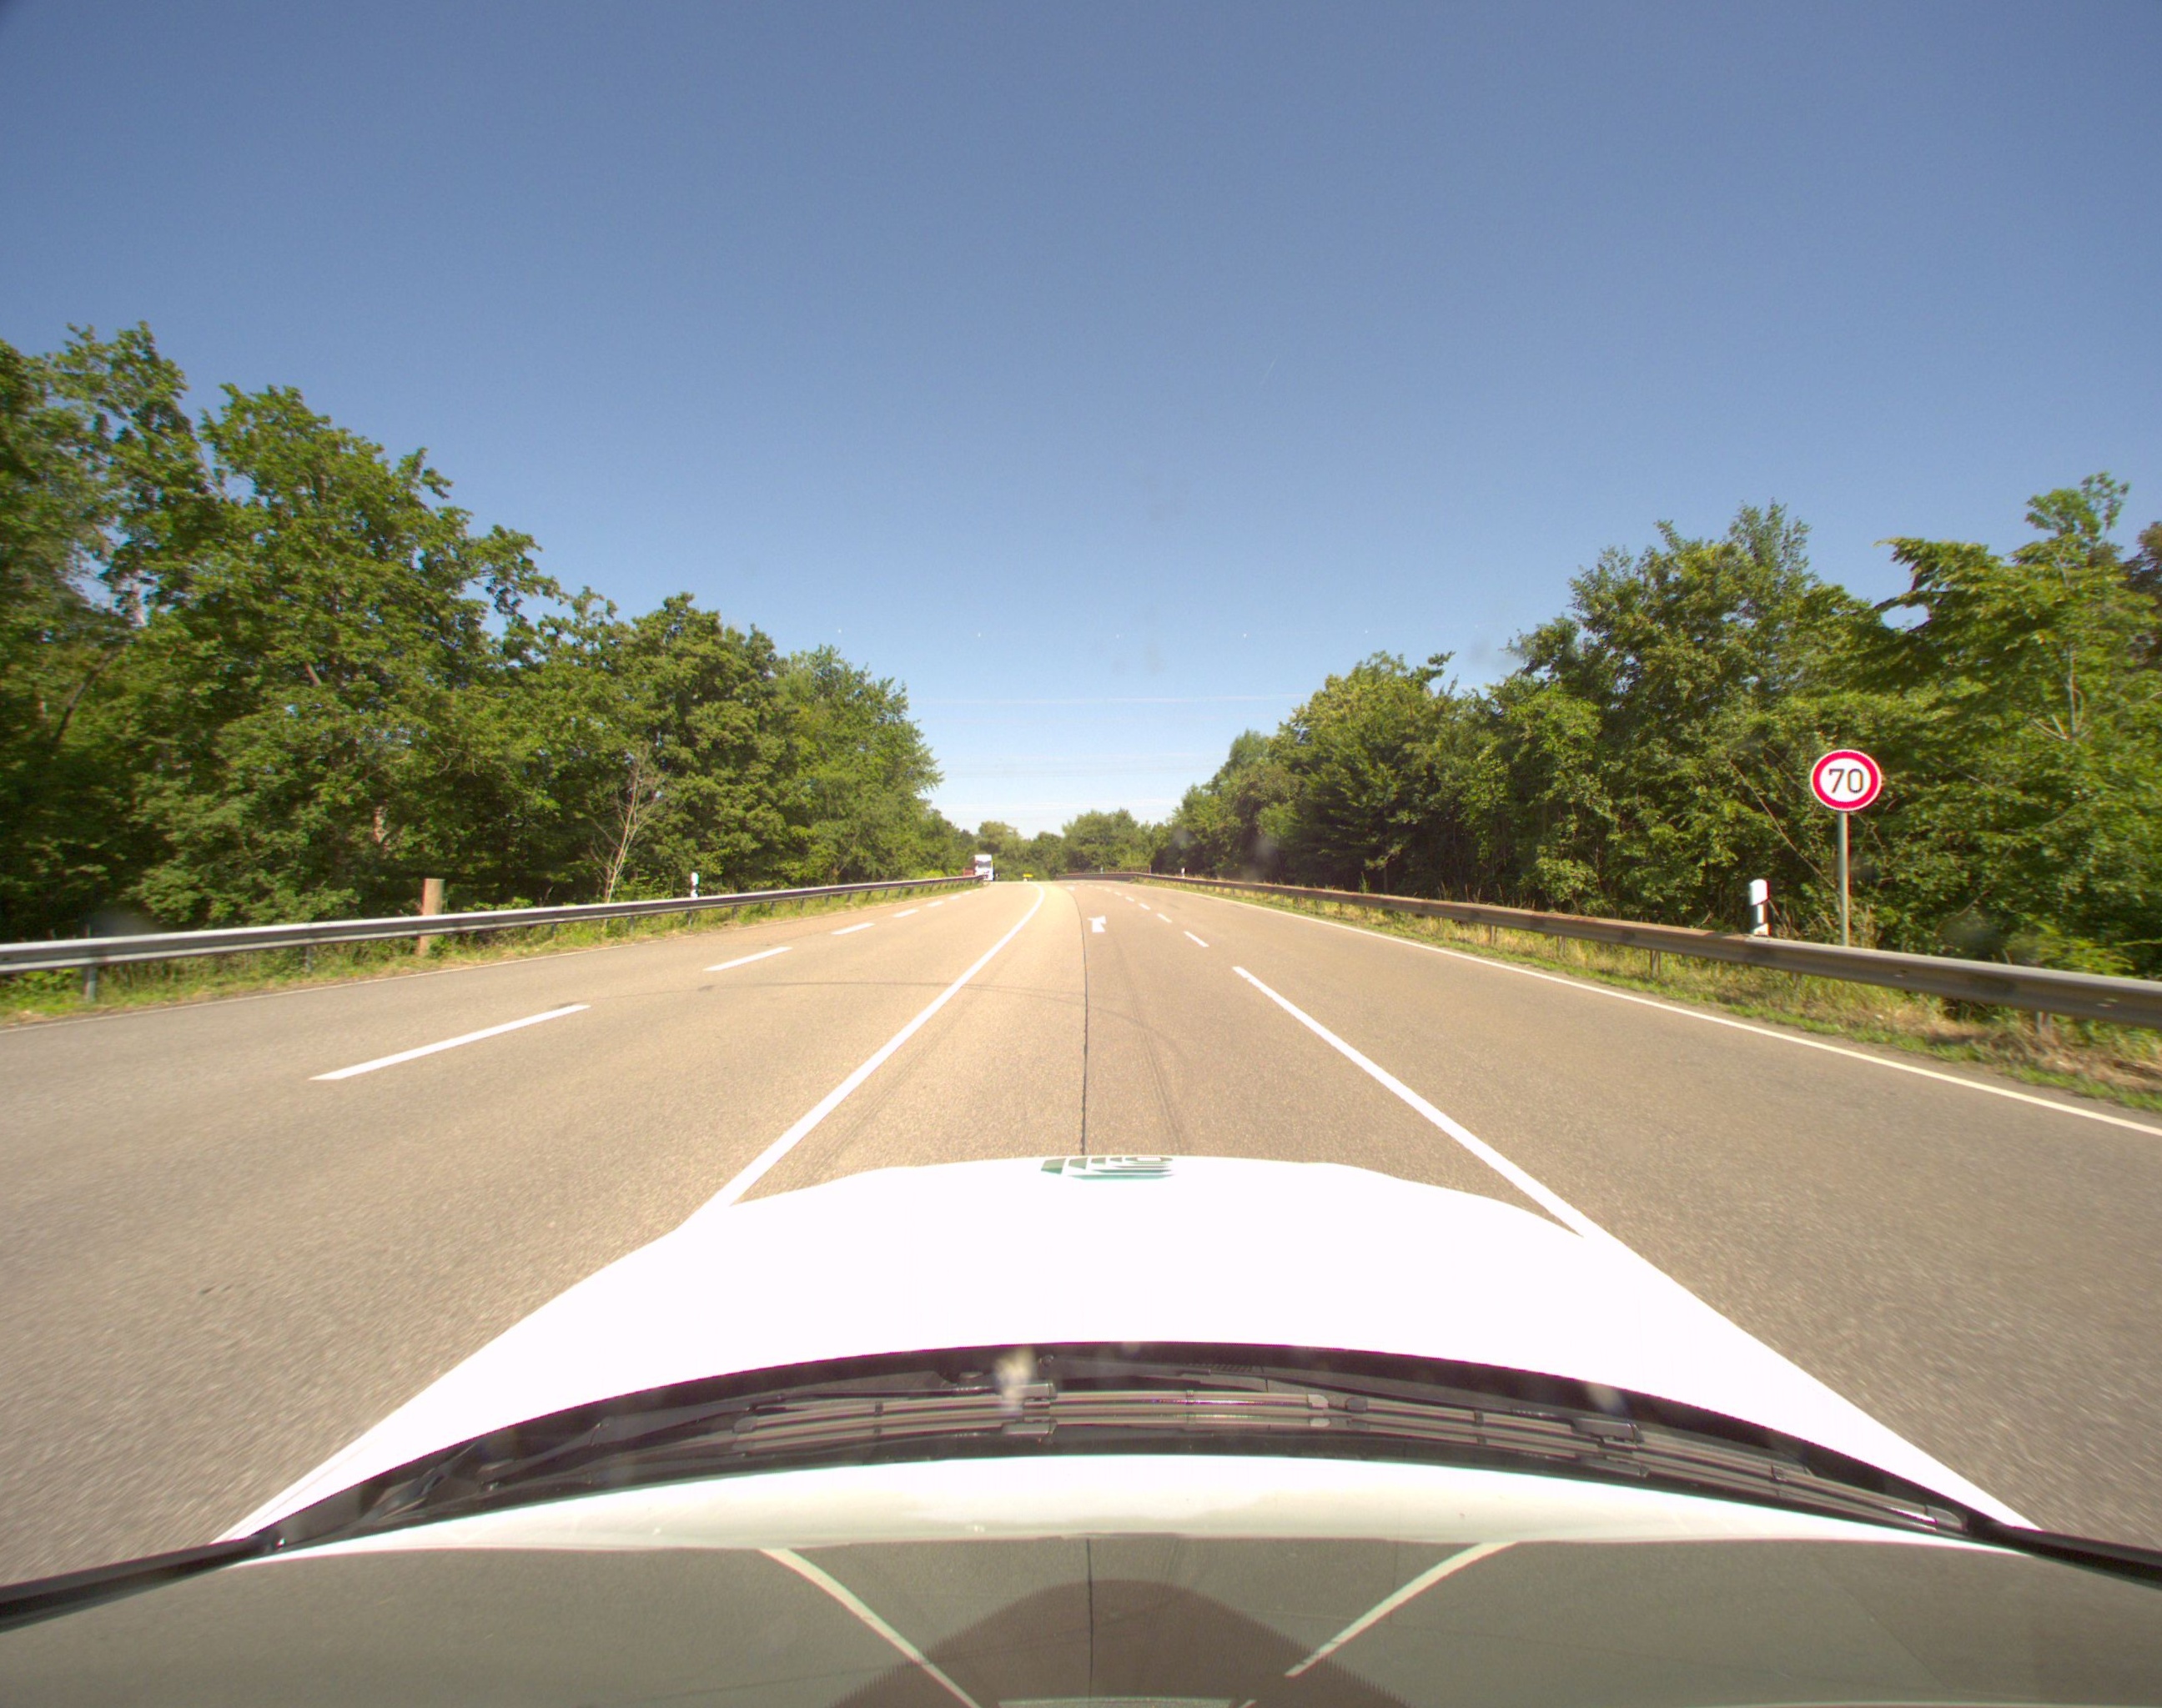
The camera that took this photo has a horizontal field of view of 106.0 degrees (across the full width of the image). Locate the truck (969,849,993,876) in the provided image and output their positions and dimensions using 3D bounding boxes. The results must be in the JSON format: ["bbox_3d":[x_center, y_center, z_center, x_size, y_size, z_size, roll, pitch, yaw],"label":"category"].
[{"bbox_3d":[-15.474,1.335,125.671,2.774,4.034,5.824,0,-2,-15],"label":"truck"}]

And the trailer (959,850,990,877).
[{"bbox_3d":[-17.371,1.593,132.081,2.775,4.062,14.116,-1,-2,-17],"label":"trailer"}]
